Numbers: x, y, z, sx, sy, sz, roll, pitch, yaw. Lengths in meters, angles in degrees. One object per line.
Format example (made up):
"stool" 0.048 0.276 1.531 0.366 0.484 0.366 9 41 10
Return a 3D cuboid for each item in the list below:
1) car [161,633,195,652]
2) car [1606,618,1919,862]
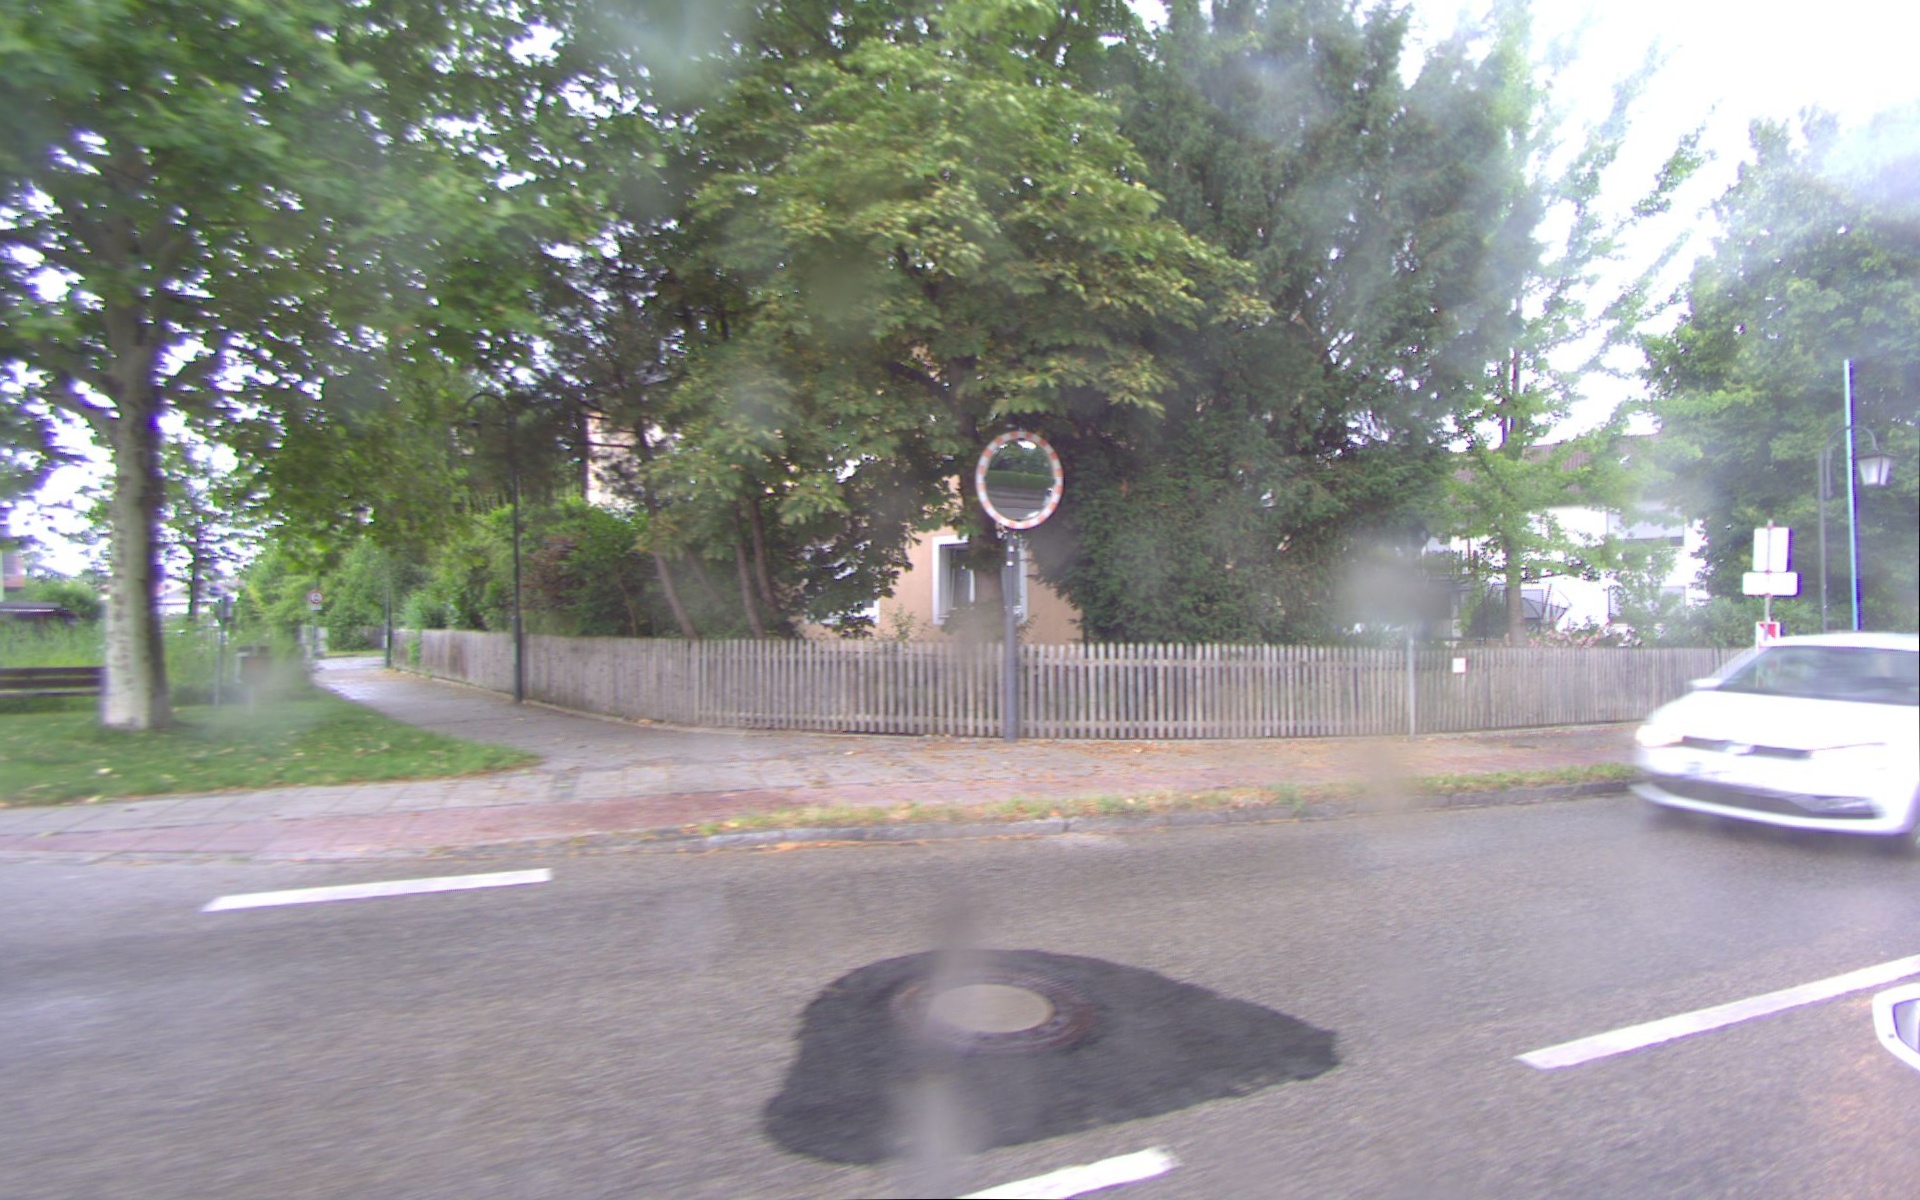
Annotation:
"car" -65.600 3.549 84.275 1.985 1.461 3.951 2 -1 -42
"car" 6.835 0.929 7.653 3.623 1.463 1.612 2 -1 -27
